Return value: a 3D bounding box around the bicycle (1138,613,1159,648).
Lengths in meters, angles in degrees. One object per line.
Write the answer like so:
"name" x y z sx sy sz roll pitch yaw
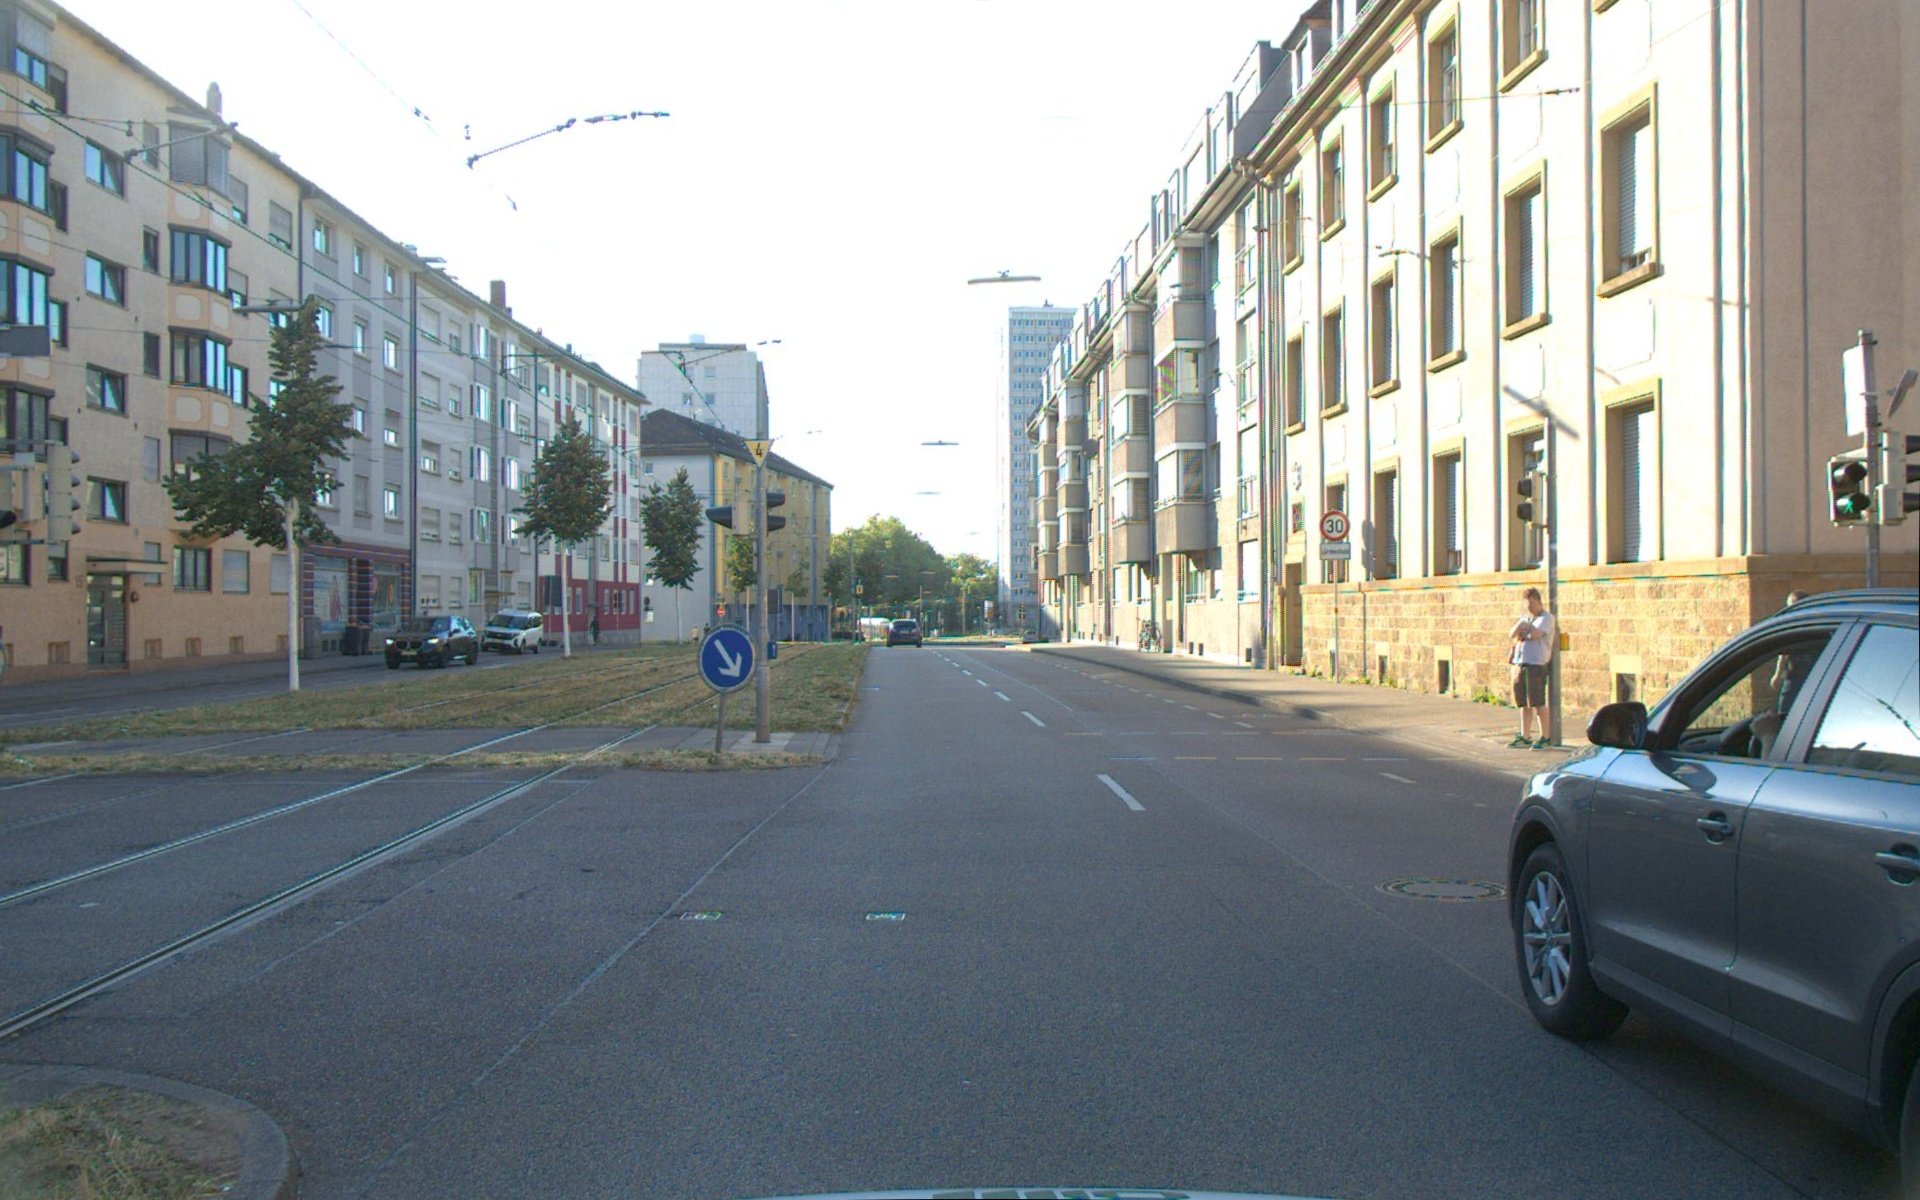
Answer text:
"bicycle" 6.182 1.005 54.307 0.376 1.115 1.502 -1 -1 -4

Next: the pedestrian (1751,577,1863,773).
"pedestrian" 7.961 0.692 15.575 0.616 1.789 0.825 1 -1 -2

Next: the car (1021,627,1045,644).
"car" 7.028 3.445 159.323 1.951 1.591 4.003 0 -1 8

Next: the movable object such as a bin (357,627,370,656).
"movable object such as a bin" -21.621 1.509 59.975 0.292 1.055 0.441 1 -1 -3

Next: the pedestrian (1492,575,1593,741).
"pedestrian" 6.465 0.642 18.390 0.818 1.793 0.823 1 -1 -3

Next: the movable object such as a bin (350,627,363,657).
"movable object such as a bin" -21.578 1.506 59.171 0.292 1.055 0.441 1 -1 -3

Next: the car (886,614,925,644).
"car" -2.743 1.498 84.144 1.887 1.482 4.326 1 -1 -1

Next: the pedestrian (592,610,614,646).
"pedestrian" -20.741 1.621 96.026 0.984 2.071 0.886 0 -1 4

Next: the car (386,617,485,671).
"car" -17.199 1.417 54.432 1.859 1.662 4.745 -1 -1 -2

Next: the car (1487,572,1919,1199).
"car" 2.998 0.741 4.669 1.663 1.580 4.225 0 -1 0

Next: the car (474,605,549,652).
"car" -19.618 1.268 72.500 1.952 1.959 4.542 1 -1 1
